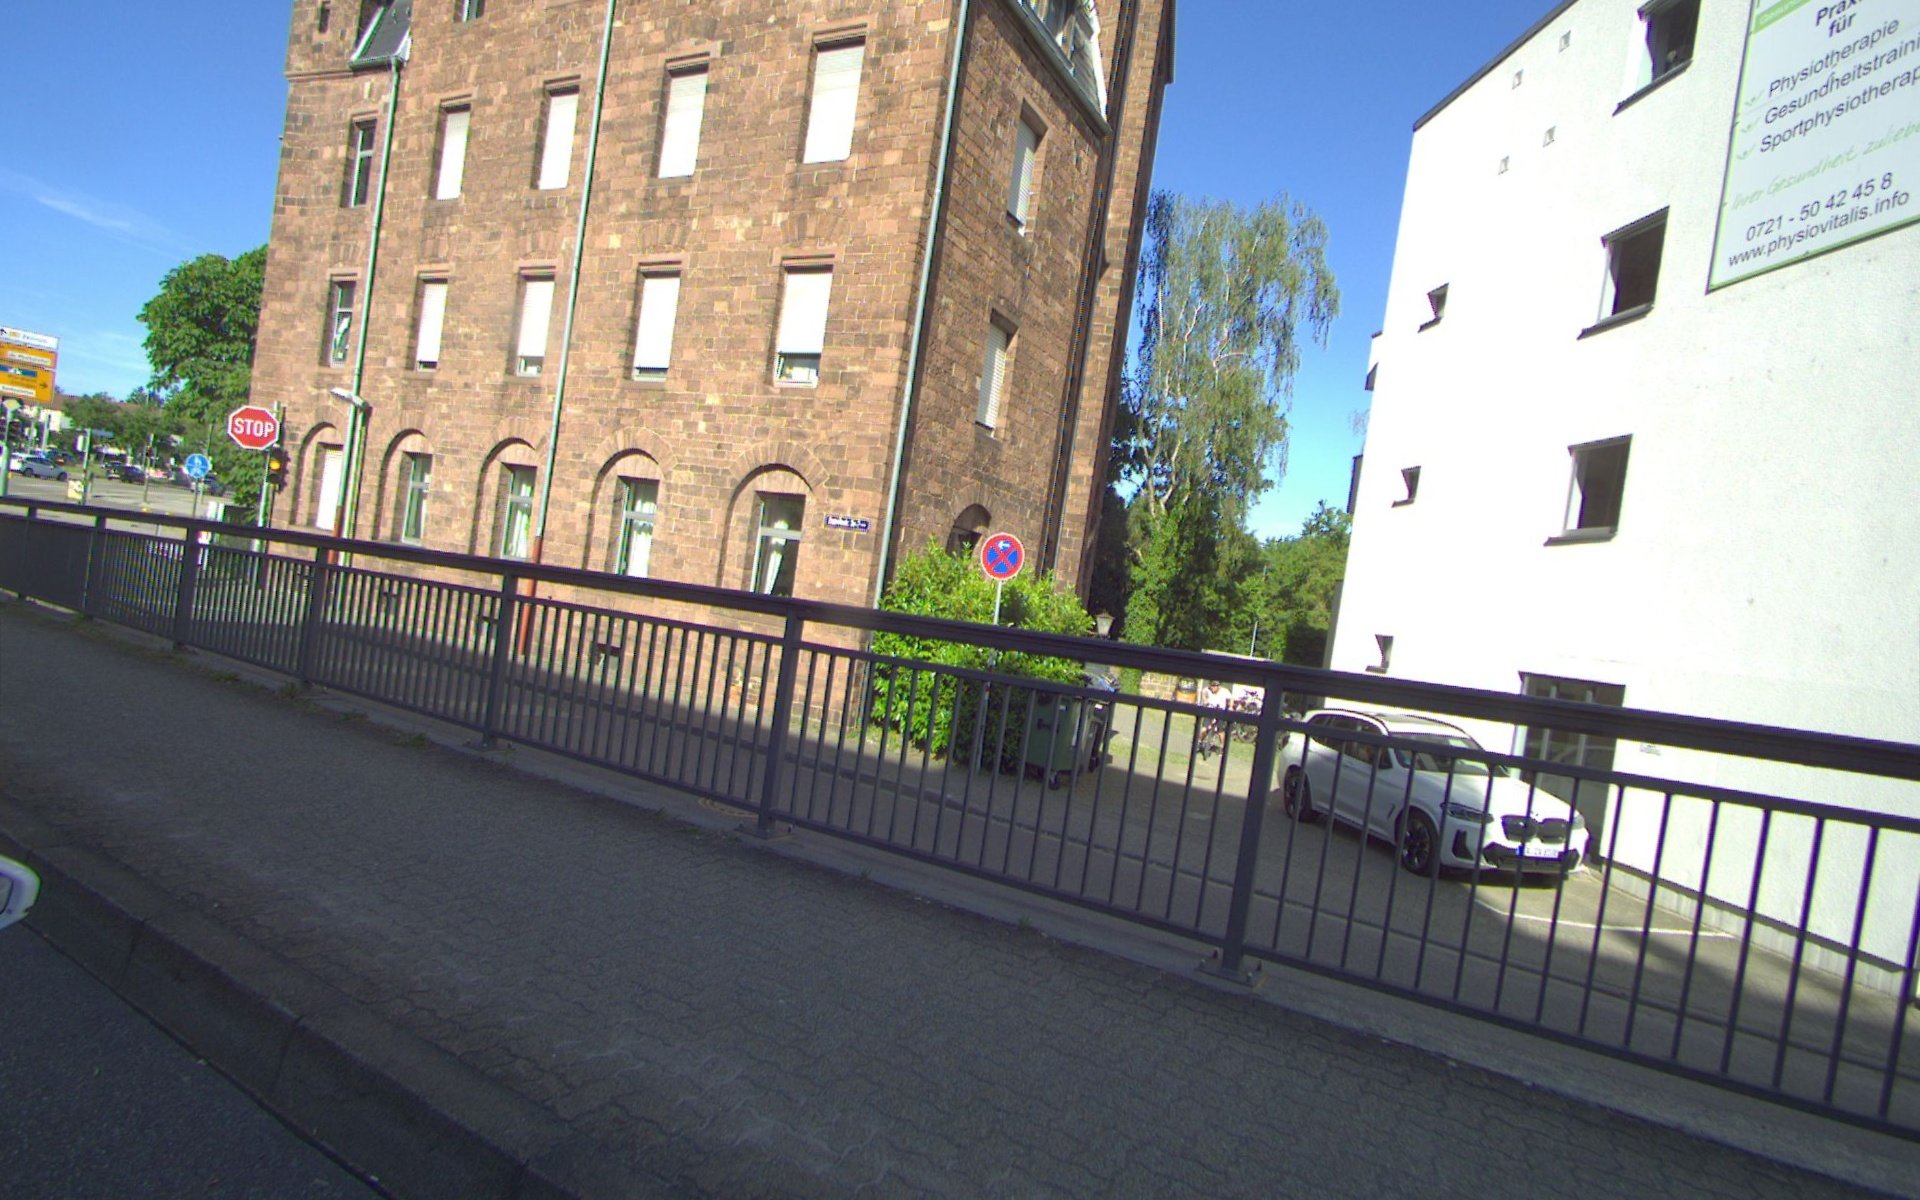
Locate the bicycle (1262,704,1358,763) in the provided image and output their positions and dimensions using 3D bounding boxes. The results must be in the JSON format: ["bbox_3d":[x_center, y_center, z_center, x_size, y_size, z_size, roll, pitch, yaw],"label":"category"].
[{"bbox_3d":[8.123,3.098,23.363,1.889,1.065,0.664,8,1,-6],"label":"bicycle"}]

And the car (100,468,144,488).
[{"bbox_3d":[-71.518,-10.426,85.907,1.865,1.311,4.558,8,2,-28],"label":"car"}]

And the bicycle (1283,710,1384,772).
[{"bbox_3d":[8.327,3.142,22.449,1.889,1.065,0.664,8,1,-6],"label":"bicycle"}]

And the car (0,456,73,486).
[{"bbox_3d":[-61.772,-8.592,66.815,1.965,1.382,4.308,9,1,-4],"label":"car"}]

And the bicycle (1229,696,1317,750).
[{"bbox_3d":[7.863,3.086,25.278,1.889,1.065,0.664,8,1,-6],"label":"bicycle"}]

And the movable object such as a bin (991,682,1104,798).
[{"bbox_3d":[1.187,1.854,13.517,1.011,1.307,1.005,10,0,29],"label":"movable object such as a bin"}]

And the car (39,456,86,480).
[{"bbox_3d":[-82.325,-12.095,92.339,1.860,1.598,3.978,8,1,-22],"label":"car"}]

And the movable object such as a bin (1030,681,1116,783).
[{"bbox_3d":[1.755,2.002,15.479,1.009,1.307,1.007,10,0,14],"label":"movable object such as a bin"}]

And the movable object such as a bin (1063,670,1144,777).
[{"bbox_3d":[2.395,2.019,16.660,1.009,1.539,1.007,10,0,14],"label":"movable object such as a bin"}]

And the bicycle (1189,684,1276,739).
[{"bbox_3d":[7.399,3.031,27.379,2.075,1.174,0.664,8,1,-9],"label":"bicycle"}]

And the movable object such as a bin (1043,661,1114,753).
[{"bbox_3d":[2.279,2.020,19.267,1.009,1.539,1.007,10,0,14],"label":"movable object such as a bin"}]

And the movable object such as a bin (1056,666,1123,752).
[{"bbox_3d":[2.640,2.186,20.456,1.009,1.539,1.007,10,0,14],"label":"movable object such as a bin"}]

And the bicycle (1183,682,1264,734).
[{"bbox_3d":[7.657,3.140,29.264,2.075,1.174,0.664,8,1,-9],"label":"bicycle"}]

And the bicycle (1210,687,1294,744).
[{"bbox_3d":[7.661,3.029,26.446,1.889,1.174,0.664,8,1,-6],"label":"bicycle"}]

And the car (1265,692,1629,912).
[{"bbox_3d":[5.968,2.407,13.115,1.814,1.707,4.521,8,0,-9],"label":"car"}]

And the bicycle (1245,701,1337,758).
[{"bbox_3d":[7.967,3.118,24.251,1.889,1.065,0.664,8,1,-6],"label":"bicycle"}]

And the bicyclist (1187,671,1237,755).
[{"bbox_3d":[5.244,2.336,20.914,0.675,1.627,0.696,9,0,22],"label":"bicyclist"}]

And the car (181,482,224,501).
[{"bbox_3d":[-69.040,-9.826,91.721,1.975,1.311,4.564,8,2,-24],"label":"car"}]

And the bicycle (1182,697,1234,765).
[{"bbox_3d":[5.179,2.699,20.917,0.677,1.155,1.838,9,1,21],"label":"bicycle"}]

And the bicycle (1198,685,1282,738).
[{"bbox_3d":[7.901,3.138,28.411,2.075,1.174,0.664,8,1,-9],"label":"bicycle"}]

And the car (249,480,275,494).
[{"bbox_3d":[-86.862,-14.092,125.299,1.765,1.375,4.051,8,2,-24],"label":"car"}]
